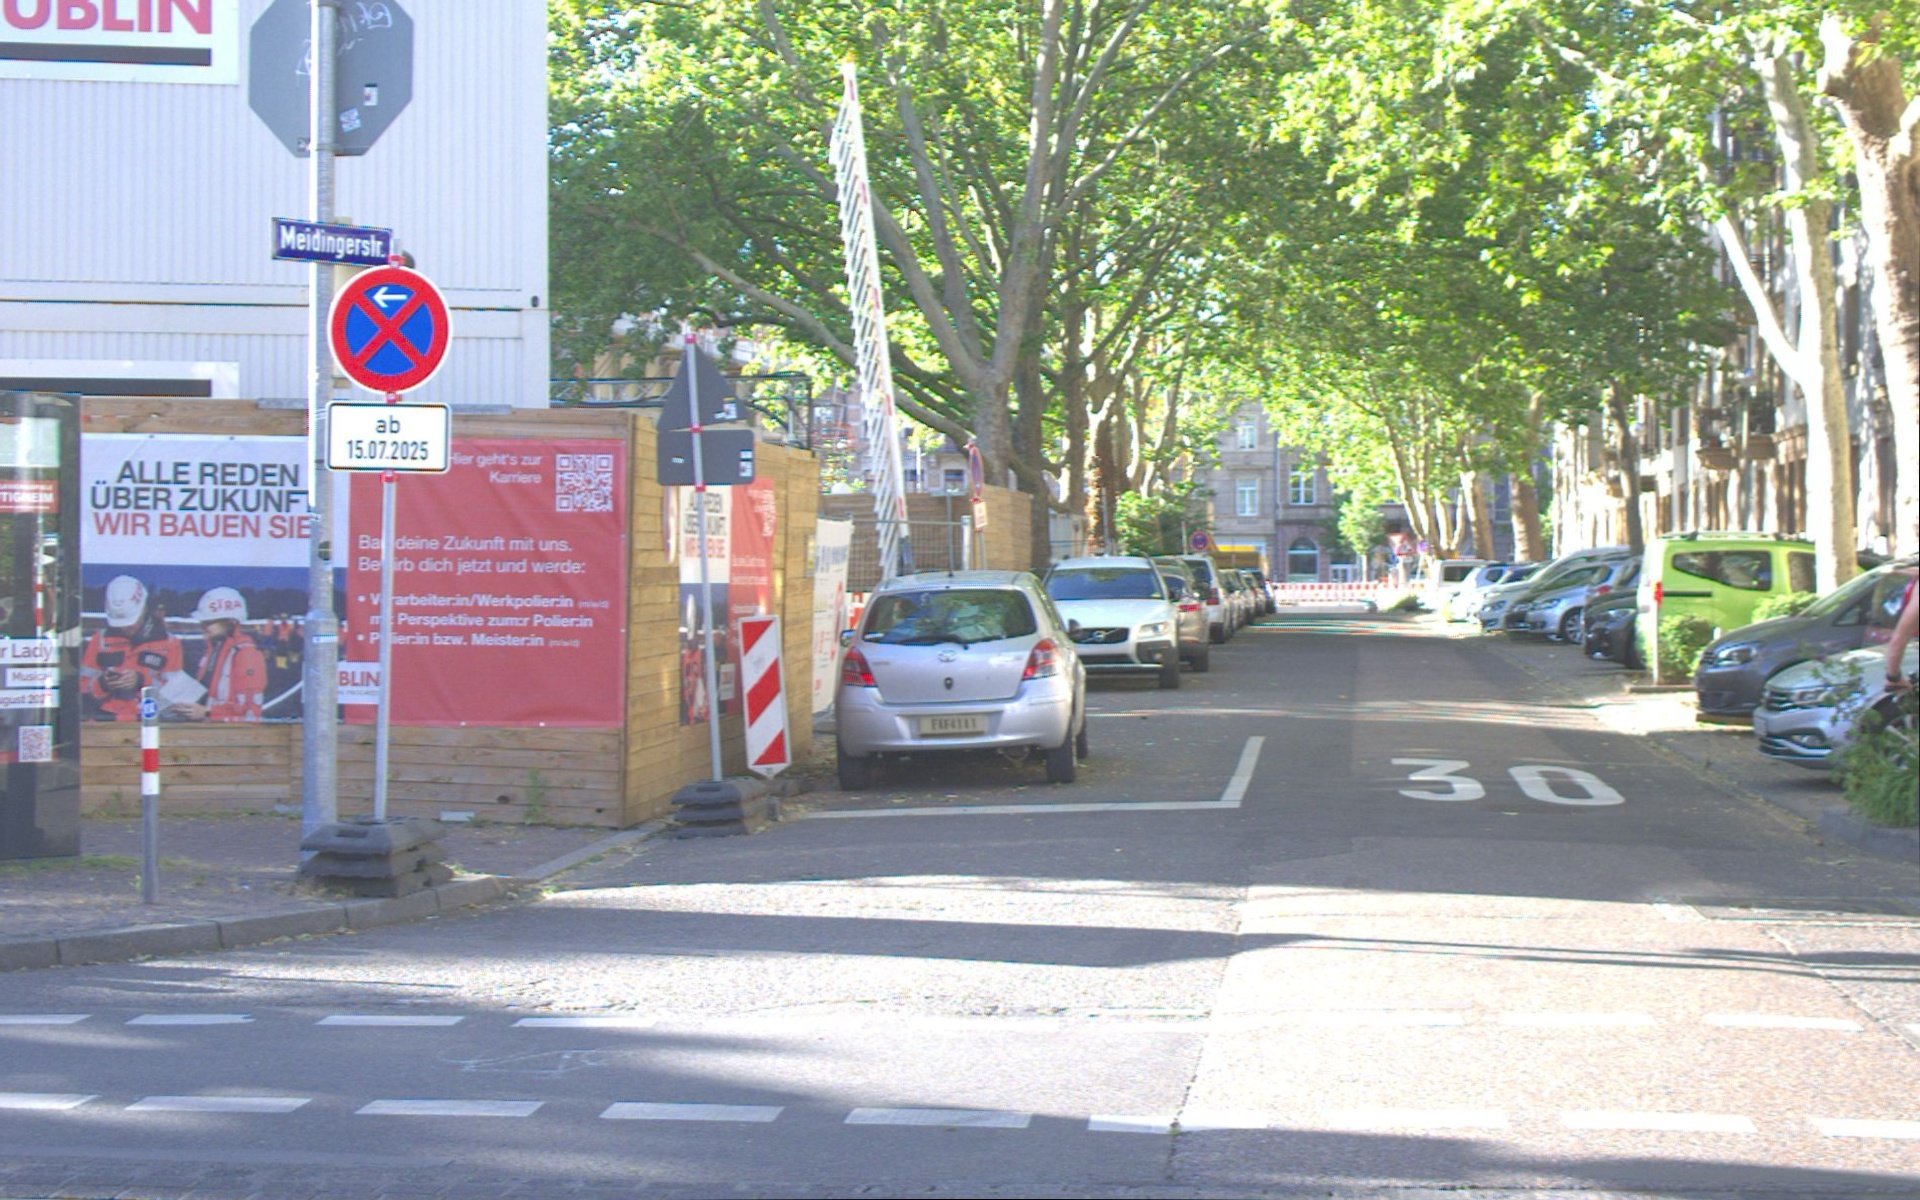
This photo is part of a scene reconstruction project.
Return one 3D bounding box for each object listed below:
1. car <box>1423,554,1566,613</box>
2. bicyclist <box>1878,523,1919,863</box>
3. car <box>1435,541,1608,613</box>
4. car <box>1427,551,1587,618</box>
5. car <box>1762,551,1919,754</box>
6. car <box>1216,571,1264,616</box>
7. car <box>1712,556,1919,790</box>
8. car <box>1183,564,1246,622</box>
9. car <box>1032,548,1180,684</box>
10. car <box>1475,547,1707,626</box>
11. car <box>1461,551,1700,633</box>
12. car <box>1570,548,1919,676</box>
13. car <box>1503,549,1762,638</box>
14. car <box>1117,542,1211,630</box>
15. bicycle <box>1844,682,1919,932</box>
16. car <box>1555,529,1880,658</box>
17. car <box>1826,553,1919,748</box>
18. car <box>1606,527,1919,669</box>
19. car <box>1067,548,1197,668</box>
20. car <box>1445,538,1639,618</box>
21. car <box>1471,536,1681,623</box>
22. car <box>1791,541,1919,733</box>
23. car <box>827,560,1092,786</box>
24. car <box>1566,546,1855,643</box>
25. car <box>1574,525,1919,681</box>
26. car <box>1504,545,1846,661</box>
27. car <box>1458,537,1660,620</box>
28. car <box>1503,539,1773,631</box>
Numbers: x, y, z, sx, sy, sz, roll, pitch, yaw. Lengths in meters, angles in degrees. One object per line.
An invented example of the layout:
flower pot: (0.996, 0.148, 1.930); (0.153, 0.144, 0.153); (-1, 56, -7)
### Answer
car: (17.369, -0.545, 111.873); (4.462, 1.891, 1.728); (0, 1, 5)
bicyclist: (4.581, 0.420, 15.556); (0.676, 1.508, 0.668); (2, 1, 5)
car: (15.059, -0.616, 92.406); (4.462, 1.891, 1.728); (0, 1, 5)
car: (15.851, -0.455, 99.794); (4.462, 1.891, 1.728); (0, 1, 5)
car: (8.515, 0.386, 26.200); (4.462, 1.495, 1.728); (0, 1, 5)
car: (10.101, -0.246, 124.229); (1.665, 1.557, 4.218); (0, 1, 4)
car: (7.599, 0.488, 23.830); (4.462, 1.565, 1.728); (0, 1, 5)
car: (7.010, -0.212, 94.788); (1.665, 1.557, 4.218); (0, 1, 4)
car: (1.813, 0.157, 41.666); (1.665, 1.557, 4.000); (0, 1, 4)
car: (12.738, -0.288, 69.623); (4.462, 1.565, 1.728); (0, 1, 5)
car: (12.125, -0.175, 67.358); (4.462, 1.565, 1.728); (0, 1, 5)
car: (10.084, 0.139, 43.659); (4.462, 1.565, 1.728); (0, 1, 5)
car: (12.194, -0.134, 62.556); (4.462, 1.565, 1.728); (0, 1, 5)
car: (3.808, -0.284, 63.789); (1.665, 1.557, 4.615); (0, 1, 4)
bicycle: (4.588, 0.929, 15.796); (0.690, 1.013, 1.907); (2, 1, 5)
car: (11.104, -0.110, 50.601); (4.462, 1.830, 1.728); (0, 1, 5)
car: (9.587, 0.408, 28.466); (4.462, 1.565, 1.728); (0, 1, 5)
car: (10.927, -0.036, 45.624); (4.462, 1.830, 1.728); (0, 1, 5)
car: (2.402, 0.067, 47.164); (1.665, 1.557, 4.518); (0, 1, 4)
car: (13.932, -0.535, 82.524); (4.462, 1.891, 1.728); (0, 1, 5)
car: (13.740, -0.466, 76.875); (4.462, 1.891, 1.728); (0, 1, 5)
car: (9.788, 0.320, 30.542); (4.462, 1.665, 1.728); (0, 1, 5)
car: (0.069, 0.482, 25.625); (1.643, 1.489, 4.000); (-2, 1, 4)
car: (12.358, -0.105, 56.826); (4.462, 1.565, 1.728); (0, 1, 5)
car: (9.790, 0.018, 41.662); (4.462, 1.830, 1.728); (0, 1, 5)
car: (9.856, 0.026, 47.646); (4.462, 1.565, 1.728); (0, 1, 5)
car: (13.839, -0.507, 79.648); (4.462, 1.891, 1.728); (0, 1, 5)
car: (11.816, -0.269, 60.106); (4.462, 1.565, 1.728); (0, 1, 5)
